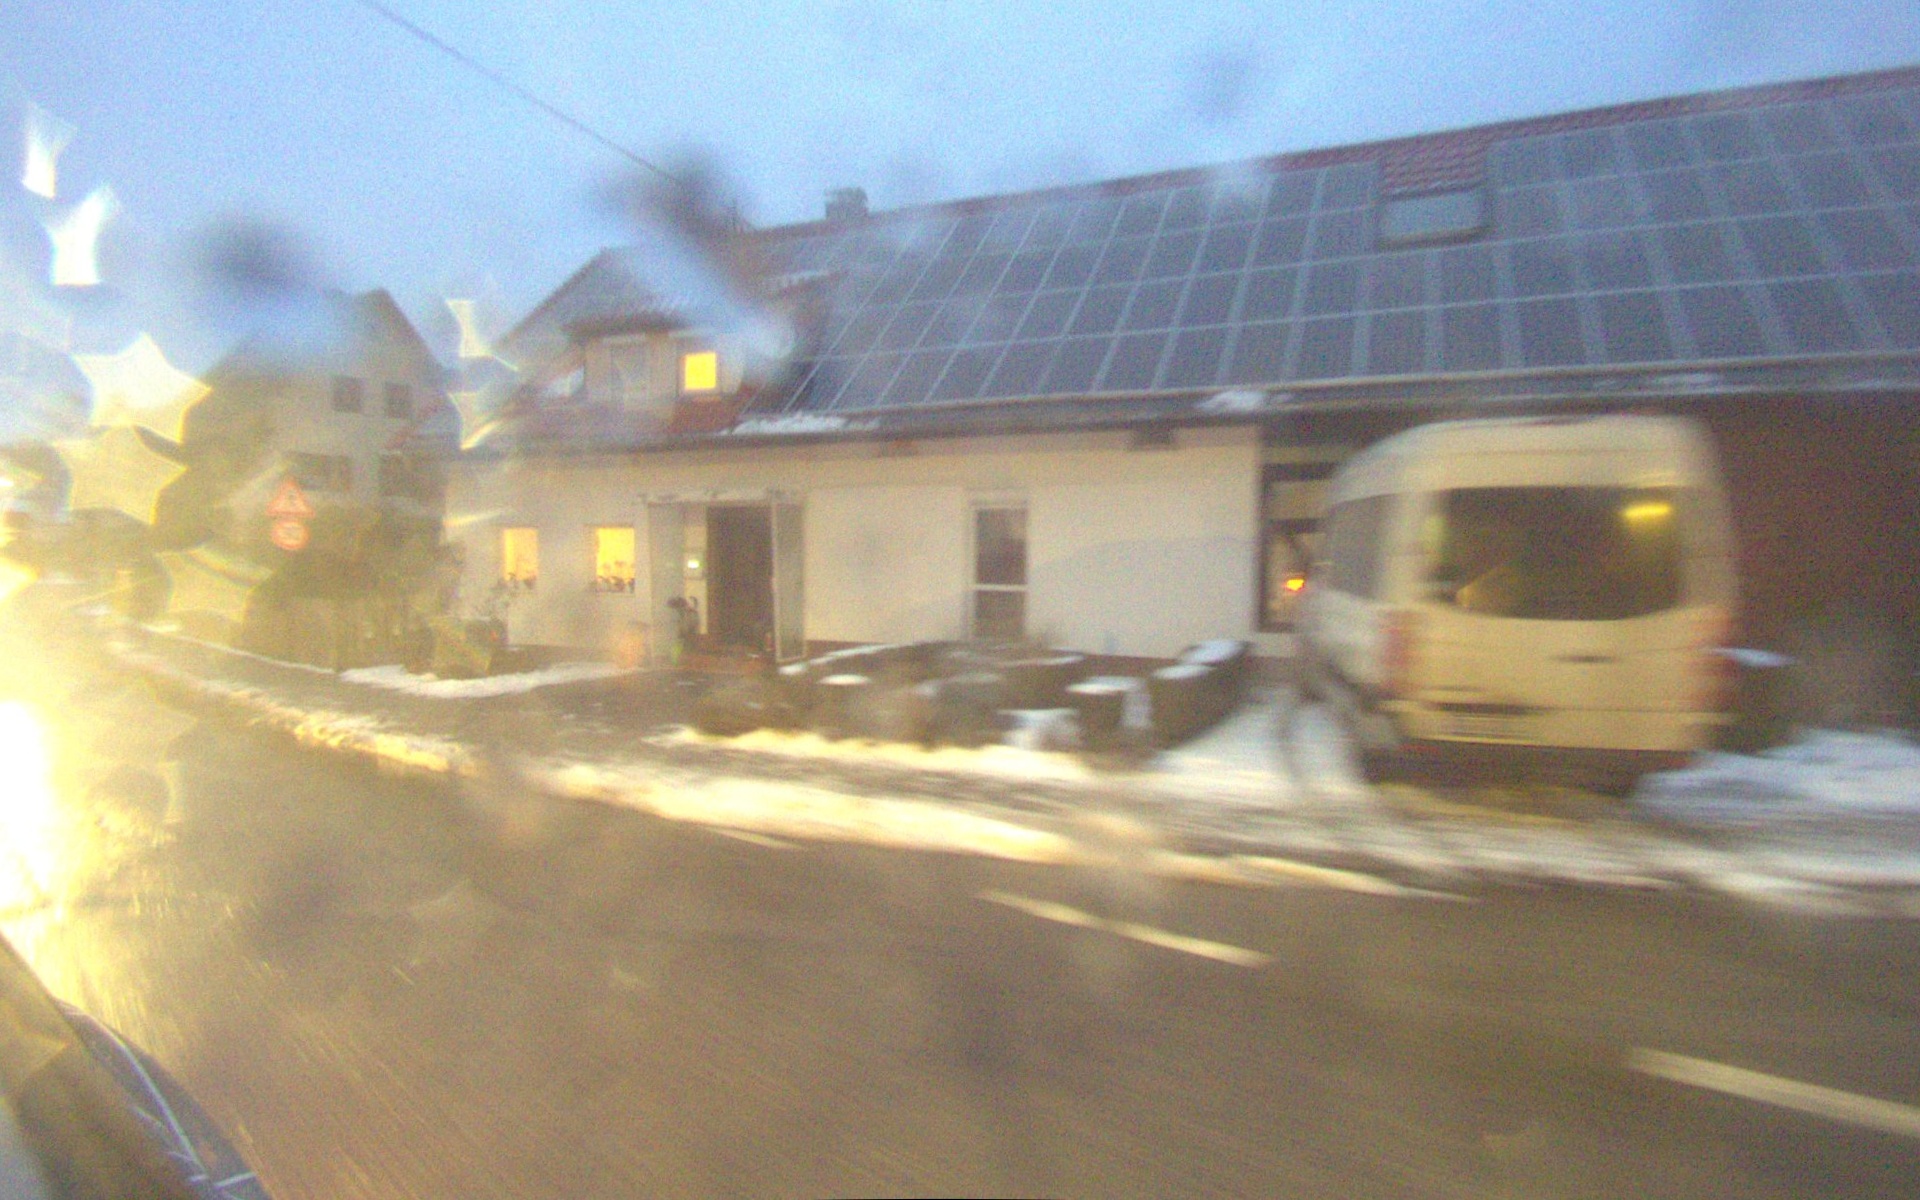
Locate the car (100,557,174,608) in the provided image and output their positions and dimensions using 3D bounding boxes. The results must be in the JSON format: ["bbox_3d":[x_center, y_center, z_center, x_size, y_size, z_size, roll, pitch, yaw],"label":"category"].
[{"bbox_3d":[-36.430,-0.831,44.754,4.084,2.051,1.972,3,7,44],"label":"car"}]

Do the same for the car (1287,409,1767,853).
[{"bbox_3d":[4.287,-0.023,9.039,1.980,2.572,6.092,1,4,13],"label":"car"}]
